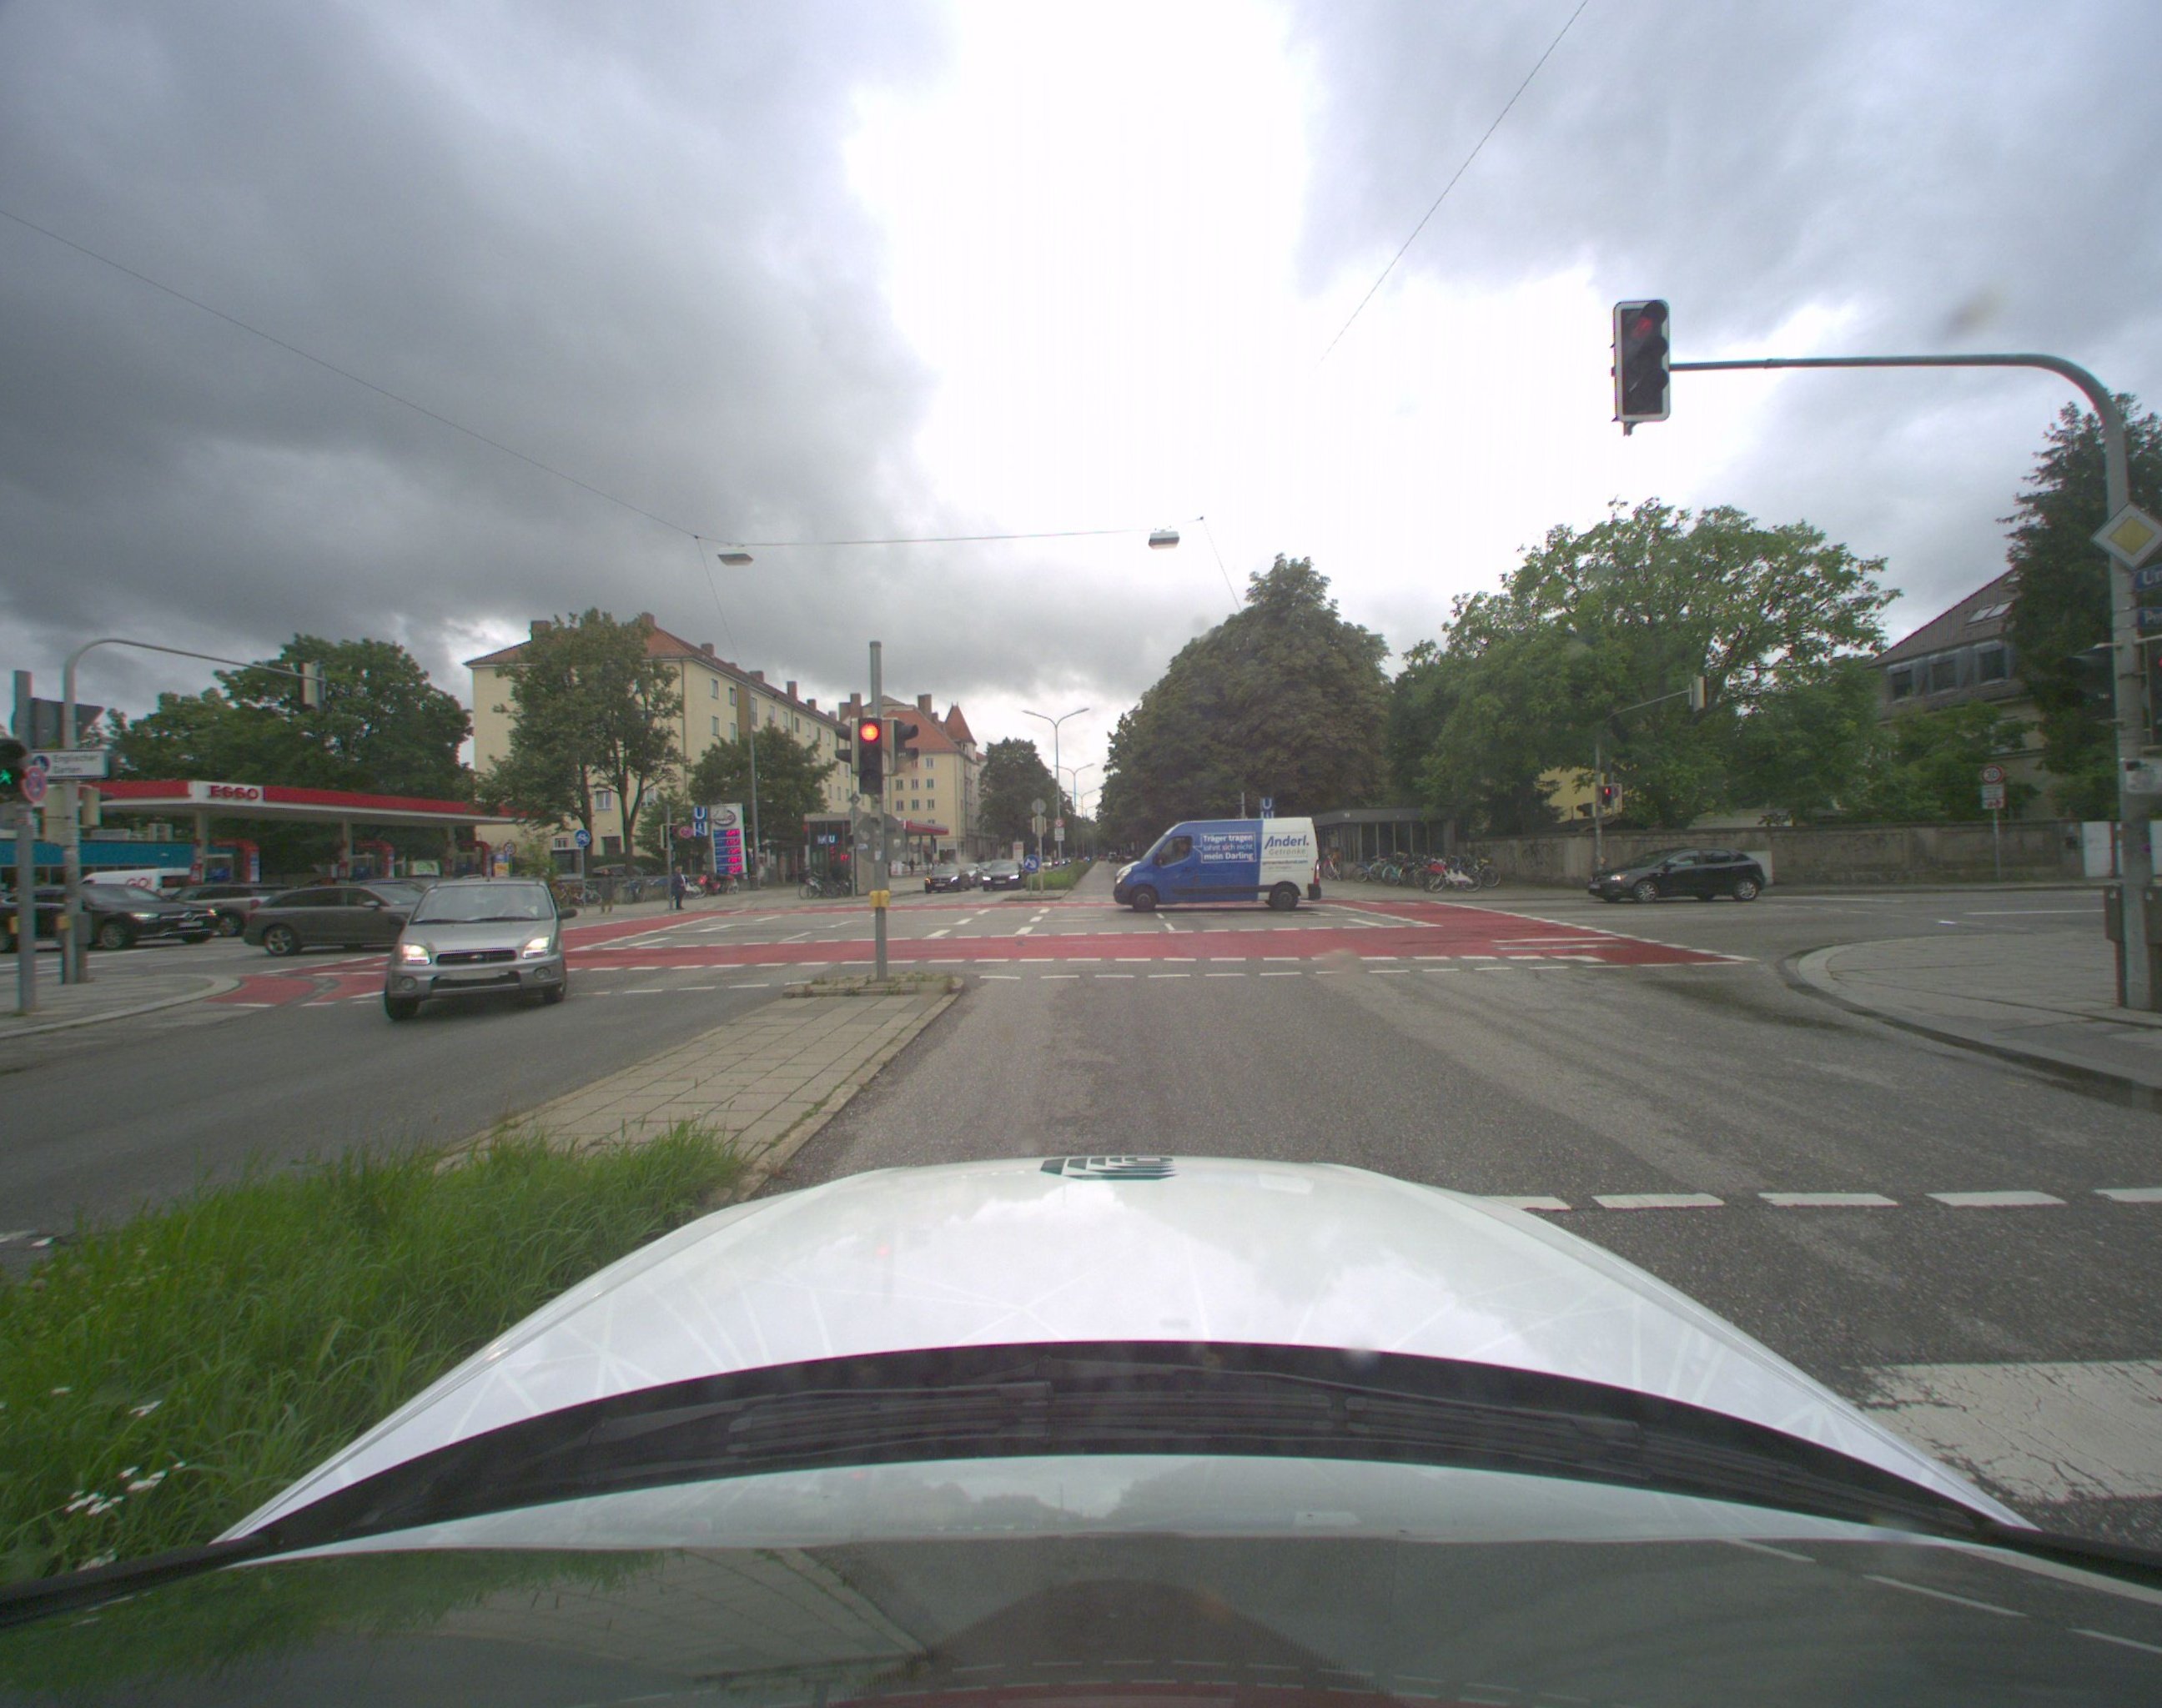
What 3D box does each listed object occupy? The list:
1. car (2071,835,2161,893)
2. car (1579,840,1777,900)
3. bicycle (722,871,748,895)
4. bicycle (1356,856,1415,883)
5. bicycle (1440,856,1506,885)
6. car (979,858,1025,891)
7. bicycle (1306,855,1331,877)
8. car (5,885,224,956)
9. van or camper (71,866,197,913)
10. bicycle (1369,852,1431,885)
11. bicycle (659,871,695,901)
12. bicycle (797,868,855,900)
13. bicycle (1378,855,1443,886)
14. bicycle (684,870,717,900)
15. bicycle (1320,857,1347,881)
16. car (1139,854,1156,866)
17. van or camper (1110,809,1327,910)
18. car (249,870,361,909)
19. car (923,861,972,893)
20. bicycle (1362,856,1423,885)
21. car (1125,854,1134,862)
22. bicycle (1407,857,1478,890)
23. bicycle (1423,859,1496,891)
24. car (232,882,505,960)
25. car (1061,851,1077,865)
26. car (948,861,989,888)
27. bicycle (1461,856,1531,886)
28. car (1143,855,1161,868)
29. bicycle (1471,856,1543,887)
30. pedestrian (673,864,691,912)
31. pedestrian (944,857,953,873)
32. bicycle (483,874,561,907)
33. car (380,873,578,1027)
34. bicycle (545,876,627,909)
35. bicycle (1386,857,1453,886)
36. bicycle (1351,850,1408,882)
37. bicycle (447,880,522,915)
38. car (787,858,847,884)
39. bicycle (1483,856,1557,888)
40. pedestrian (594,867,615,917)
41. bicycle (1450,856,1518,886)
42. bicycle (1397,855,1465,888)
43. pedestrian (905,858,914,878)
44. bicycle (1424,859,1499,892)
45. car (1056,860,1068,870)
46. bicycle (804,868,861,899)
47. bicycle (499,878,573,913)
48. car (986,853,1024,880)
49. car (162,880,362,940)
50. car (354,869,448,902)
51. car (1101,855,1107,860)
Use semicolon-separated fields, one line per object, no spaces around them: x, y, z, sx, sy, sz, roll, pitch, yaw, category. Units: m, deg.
28.100;0.208;20.799;3.673;1.397;1.641;-2;0;-1;car
15.404;0.410;21.193;3.818;1.397;1.699;-2;0;7;car
-17.411;1.440;41.012;0.607;1.145;1.962;-2;0;-5;bicycle
12.213;0.614;32.694;2.130;1.014;0.604;-2;0;9;bicycle
14.827;0.628;30.863;2.130;1.014;0.636;-2;0;9;bicycle
-3.879;0.983;40.574;1.753;1.493;4.001;-2;0;1;car
11.256;0.564;38.683;0.555;1.014;2.015;-2;0;0;bicycle
-23.999;1.626;20.329;3.317;1.514;1.694;-2;0;-2;car
-51.900;1.918;44.686;4.523;2.323;1.918;-2;0;-1;van or camper
12.168;0.561;31.111;2.130;1.178;0.604;-2;0;9;bicycle
-17.866;1.407;36.044;0.607;1.236;2.183;-2;0;-5;bicycle
-11.026;1.301;35.254;2.262;1.304;0.704;-2;0;2;bicycle
12.280;0.602;30.370;2.130;1.086;0.604;-2;0;9;bicycle
-17.186;1.391;36.860;0.607;1.236;2.183;-2;0;-5;bicycle
11.127;0.652;35.950;0.555;1.014;2.015;-2;0;0;bicycle
8.114;0.742;99.709;1.737;1.363;3.807;-2;0;1;car
3.651;0.163;22.226;5.525;2.469;2.070;-2;0;5;van or camper
-39.948;1.804;41.999;3.973;1.784;1.858;-2;0;1;car
-6.797;1.140;41.860;1.753;1.460;4.001;-2;0;1;car
12.160;0.625;31.813;2.130;1.062;0.604;-2;0;9;bicycle
9.594;0.765;161.536;1.737;1.427;3.900;-2;0;1;car
12.529;0.686;28.265;2.130;1.071;0.604;-2;0;9;bicycle
12.728;0.701;27.455;2.130;1.014;0.636;-2;0;9;bicycle
-15.100;1.391;17.425;4.301;1.412;1.663;-2;0;-1;car
-1.278;0.406;85.687;1.463;1.399;3.701;-2;0;1;car
-6.708;1.200;48.770;1.753;1.460;4.001;-2;0;1;car
14.917;0.617;29.281;2.130;1.014;0.636;-2;0;9;bicycle
7.807;0.851;89.644;1.737;1.363;3.807;-2;0;1;car
14.890;0.609;28.514;2.130;1.014;0.636;-2;0;9;bicycle
-14.571;1.233;29.737;0.536;1.695;0.572;-2;0;-24;pedestrian
-13.637;1.118;83.800;0.693;1.638;0.738;-2;0;1;pedestrian
-21.887;1.423;31.928;2.394;1.251;0.789;0;-1;-10;bicycle
-7.467;1.042;10.429;1.669;1.517;3.595;-2;0;-31;car
-19.592;1.510;32.326;2.720;1.251;0.786;0;-1;-29;bicycle
12.300;0.634;29.640;2.130;1.014;0.604;-2;0;9;bicycle
12.231;0.489;33.414;2.130;1.218;0.604;-2;0;9;bicycle
-22.833;1.653;31.217;2.179;1.236;0.764;-2;0;-8;bicycle
-20.209;1.278;62.442;3.976;1.838;1.879;-2;0;-2;car
14.918;0.600;27.716;2.130;1.014;0.636;-2;0;9;bicycle
-16.707;1.314;28.548;0.593;1.695;0.571;-1;0;-29;pedestrian
14.859;0.622;30.077;2.130;1.014;0.636;-2;0;9;bicycle
12.408;0.604;28.923;2.130;1.101;0.604;-2;0;9;bicycle
-16.683;1.357;79.177;0.727;2.014;0.835;0;-1;1;pedestrian
12.512;0.716;26.835;2.130;1.014;0.604;-2;0;9;bicycle
-3.478;2.041;149.370;1.945;1.823;4.000;-2;0;1;car
-10.980;1.304;36.033;2.276;1.304;0.694;-2;0;2;bicycle
-20.899;1.582;31.269;2.180;1.236;0.763;-2;0;-10;bicycle
-4.464;0.692;48.462;1.753;1.493;4.001;-2;0;1;car
-24.075;1.618;24.035;4.154;1.514;1.695;-2;0;0;car
-40.560;1.886;48.619;3.973;1.784;1.858;-2;0;1;car
7.106;1.041;252.877;1.850;1.684;4.001;-2;0;1;car
